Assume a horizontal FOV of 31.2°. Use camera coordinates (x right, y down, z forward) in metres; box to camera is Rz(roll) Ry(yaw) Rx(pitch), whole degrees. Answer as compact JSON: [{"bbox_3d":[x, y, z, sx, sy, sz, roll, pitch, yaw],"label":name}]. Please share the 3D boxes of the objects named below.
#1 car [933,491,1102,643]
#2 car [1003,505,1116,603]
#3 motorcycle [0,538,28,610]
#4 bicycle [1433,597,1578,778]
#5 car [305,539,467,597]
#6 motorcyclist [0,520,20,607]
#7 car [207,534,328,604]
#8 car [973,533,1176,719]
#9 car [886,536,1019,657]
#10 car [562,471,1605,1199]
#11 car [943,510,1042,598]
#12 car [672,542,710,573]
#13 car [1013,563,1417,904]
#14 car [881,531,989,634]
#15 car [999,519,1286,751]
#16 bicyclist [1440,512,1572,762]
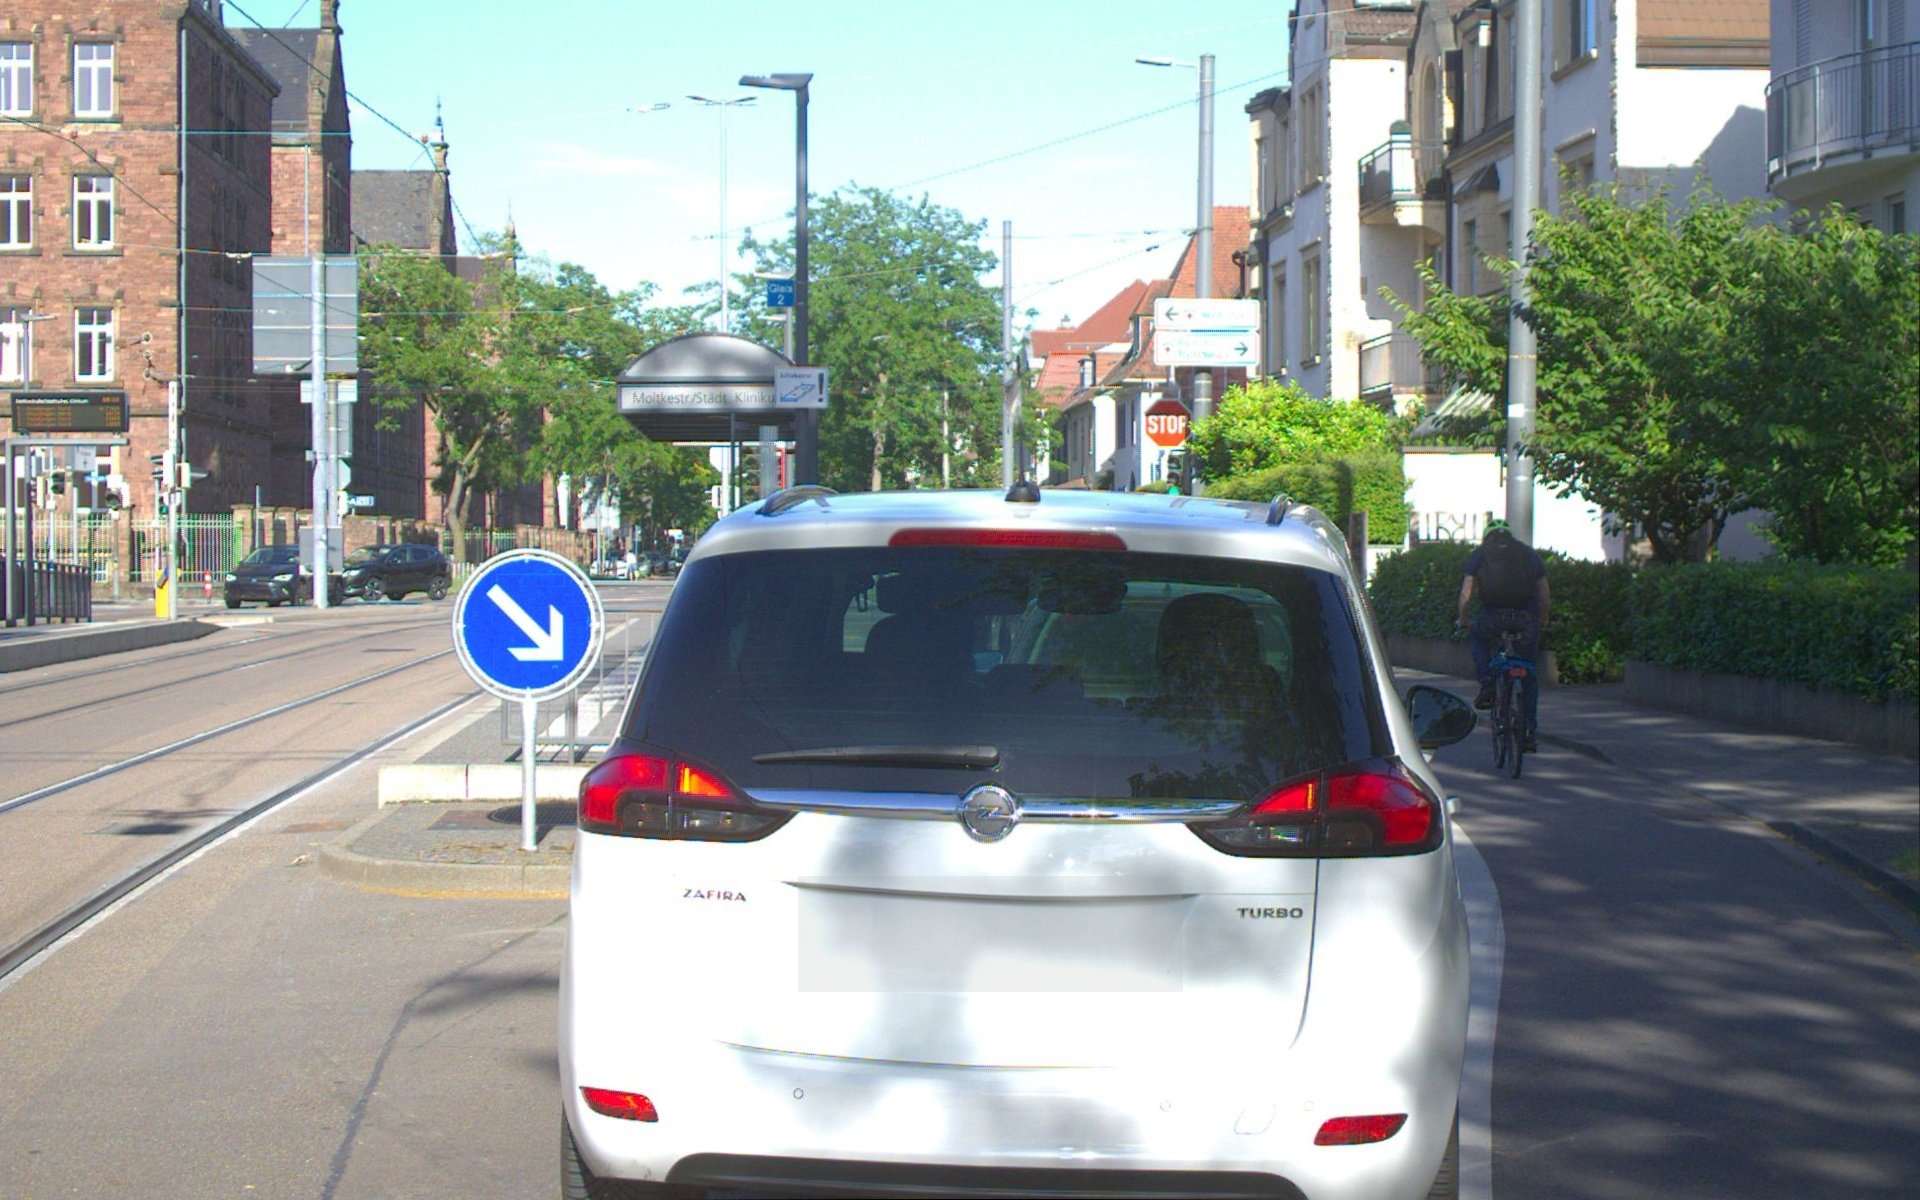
[{"bbox_3d":[0.604,-0.375,39.090,1.776,1.626,3.881,1,1,-1],"label":"car"},{"bbox_3d":[1.705,-0.797,59.998,1.776,1.626,3.881,1,1,-1],"label":"car"},{"bbox_3d":[-17.247,-0.466,60.715,1.130,1.239,2.574,1,1,-7],"label":"motorcycle"},{"bbox_3d":[3.658,0.568,23.150,0.685,1.153,1.619,1,1,-1],"label":"bicycle"},{"bbox_3d":[-15.907,-0.885,95.363,3.989,1.541,1.999,0,1,-42],"label":"car"},{"bbox_3d":[-17.242,-0.657,60.646,1.124,1.520,1.055,1,0,-7],"label":"motorcyclist"},{"bbox_3d":[-15.798,-0.715,78.604,1.993,1.541,4.000,1,1,-1],"label":"car"},{"bbox_3d":[1.033,0.212,32.438,1.776,1.626,3.880,1,1,1],"label":"car"},{"bbox_3d":[-0.116,-0.071,48.649,1.776,1.626,3.881,1,1,0],"label":"car"},{"bbox_3d":[0.138,0.583,8.050,1.834,1.636,3.919,1,1,-2],"label":"car"},{"bbox_3d":[0.594,-0.877,66.356,1.776,1.626,3.881,1,1,-1],"label":"car"},{"bbox_3d":[-14.577,-2.321,186.374,1.906,1.671,4.358,1,1,-3],"label":"car"},{"bbox_3d":[1.123,0.549,16.668,1.586,1.415,3.900,0,1,-1],"label":"car"},{"bbox_3d":[-0.447,-0.313,59.054,1.776,1.687,3.881,1,1,-1],"label":"car"},{"bbox_3d":[1.316,0.230,26.296,1.776,1.626,3.881,1,1,-3],"label":"car"},{"bbox_3d":[3.659,0.238,23.102,0.685,1.629,1.015,1,0,-1],"label":"bicyclist"}]
